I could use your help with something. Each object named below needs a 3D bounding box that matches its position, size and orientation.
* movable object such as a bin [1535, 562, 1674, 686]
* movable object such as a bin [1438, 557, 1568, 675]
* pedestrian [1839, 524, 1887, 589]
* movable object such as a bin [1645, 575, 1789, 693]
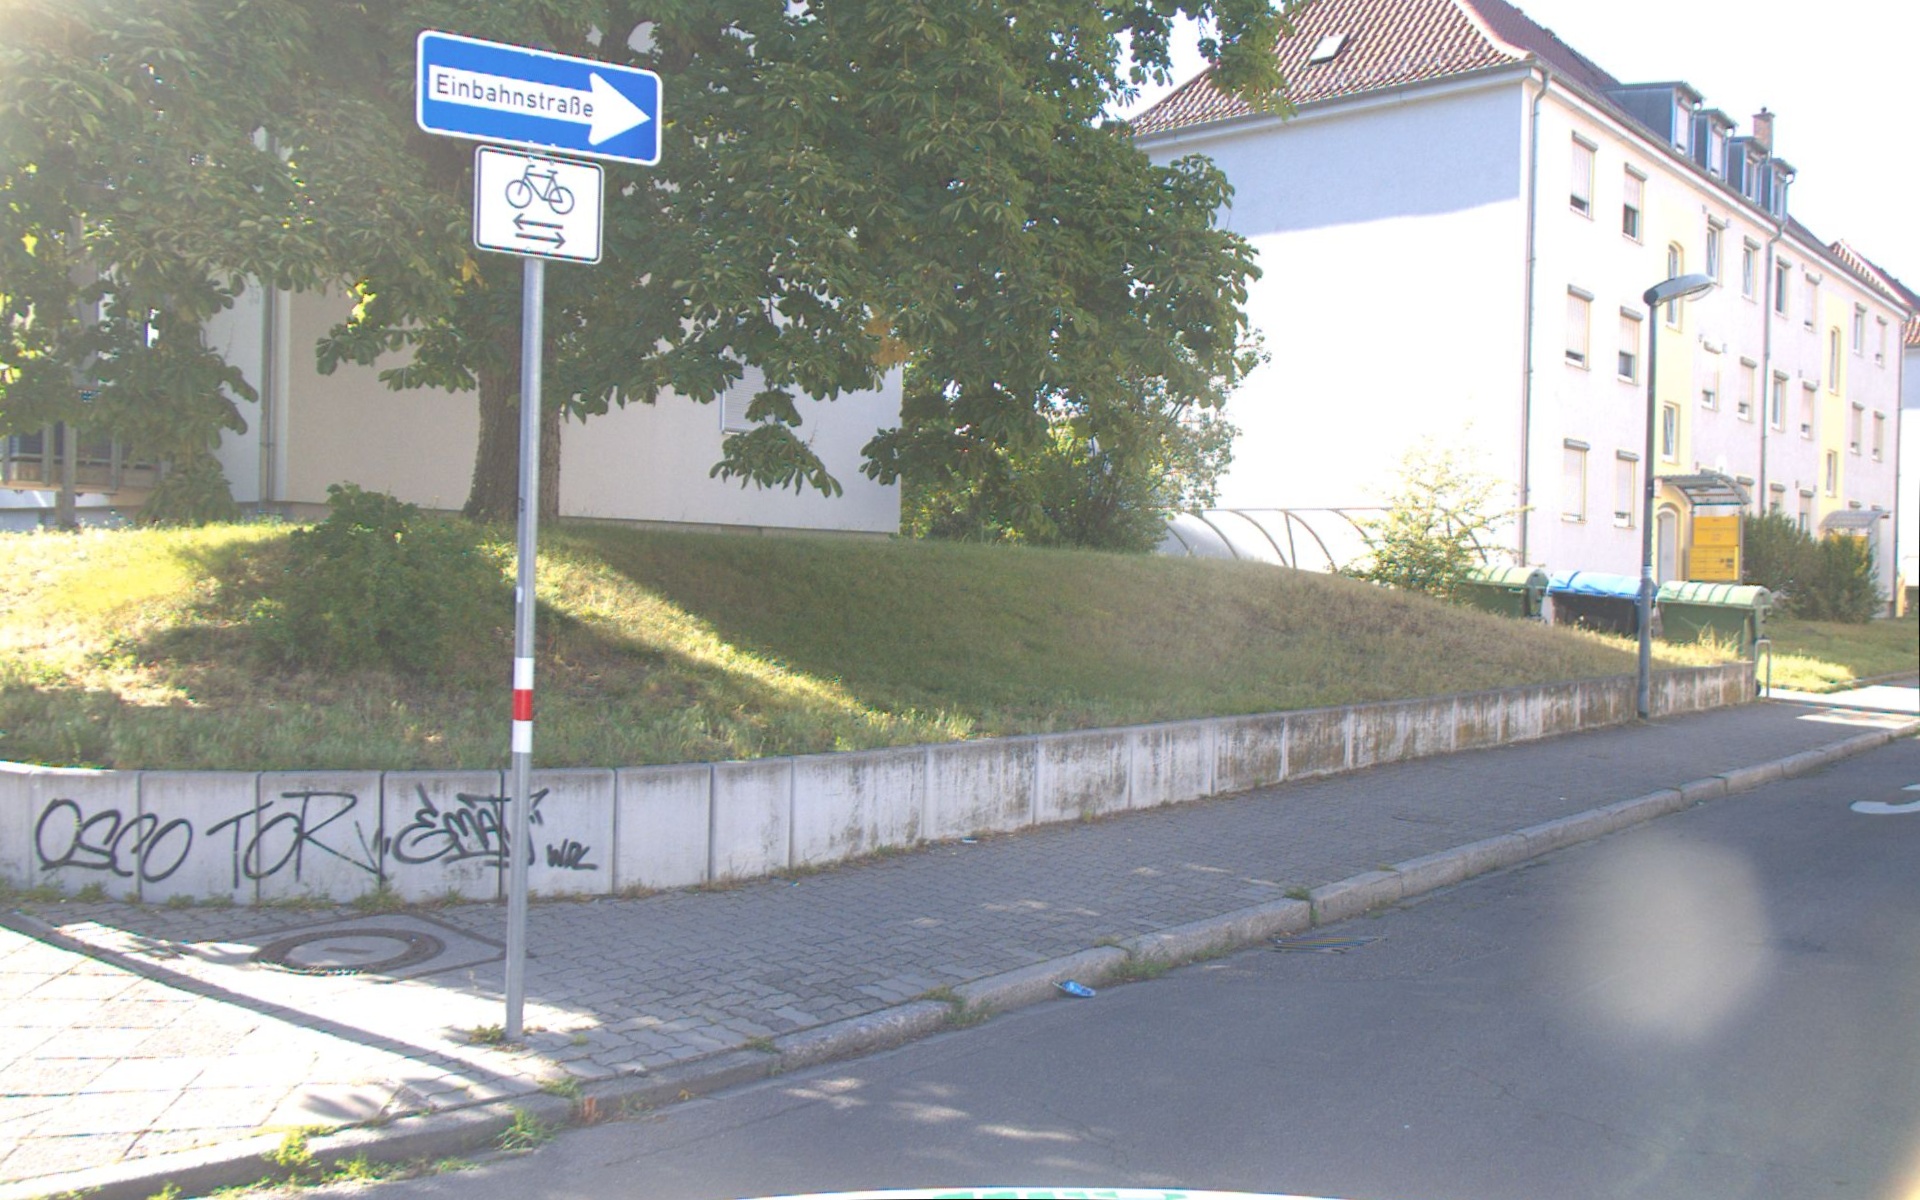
[{"bbox_3d":[9.040,0.309,23.196,1.477,1.651,1.256,2,1,41],"label":"movable object such as a bin"},{"bbox_3d":[7.925,0.213,24.135,1.437,1.641,1.184,2,1,41],"label":"movable object such as a bin"},{"bbox_3d":[24.565,-1.172,45.008,0.956,1.745,0.941,2,1,41],"label":"pedestrian"},{"bbox_3d":[10.202,0.430,22.291,1.470,1.504,1.258,2,1,41],"label":"movable object such as a bin"}]
